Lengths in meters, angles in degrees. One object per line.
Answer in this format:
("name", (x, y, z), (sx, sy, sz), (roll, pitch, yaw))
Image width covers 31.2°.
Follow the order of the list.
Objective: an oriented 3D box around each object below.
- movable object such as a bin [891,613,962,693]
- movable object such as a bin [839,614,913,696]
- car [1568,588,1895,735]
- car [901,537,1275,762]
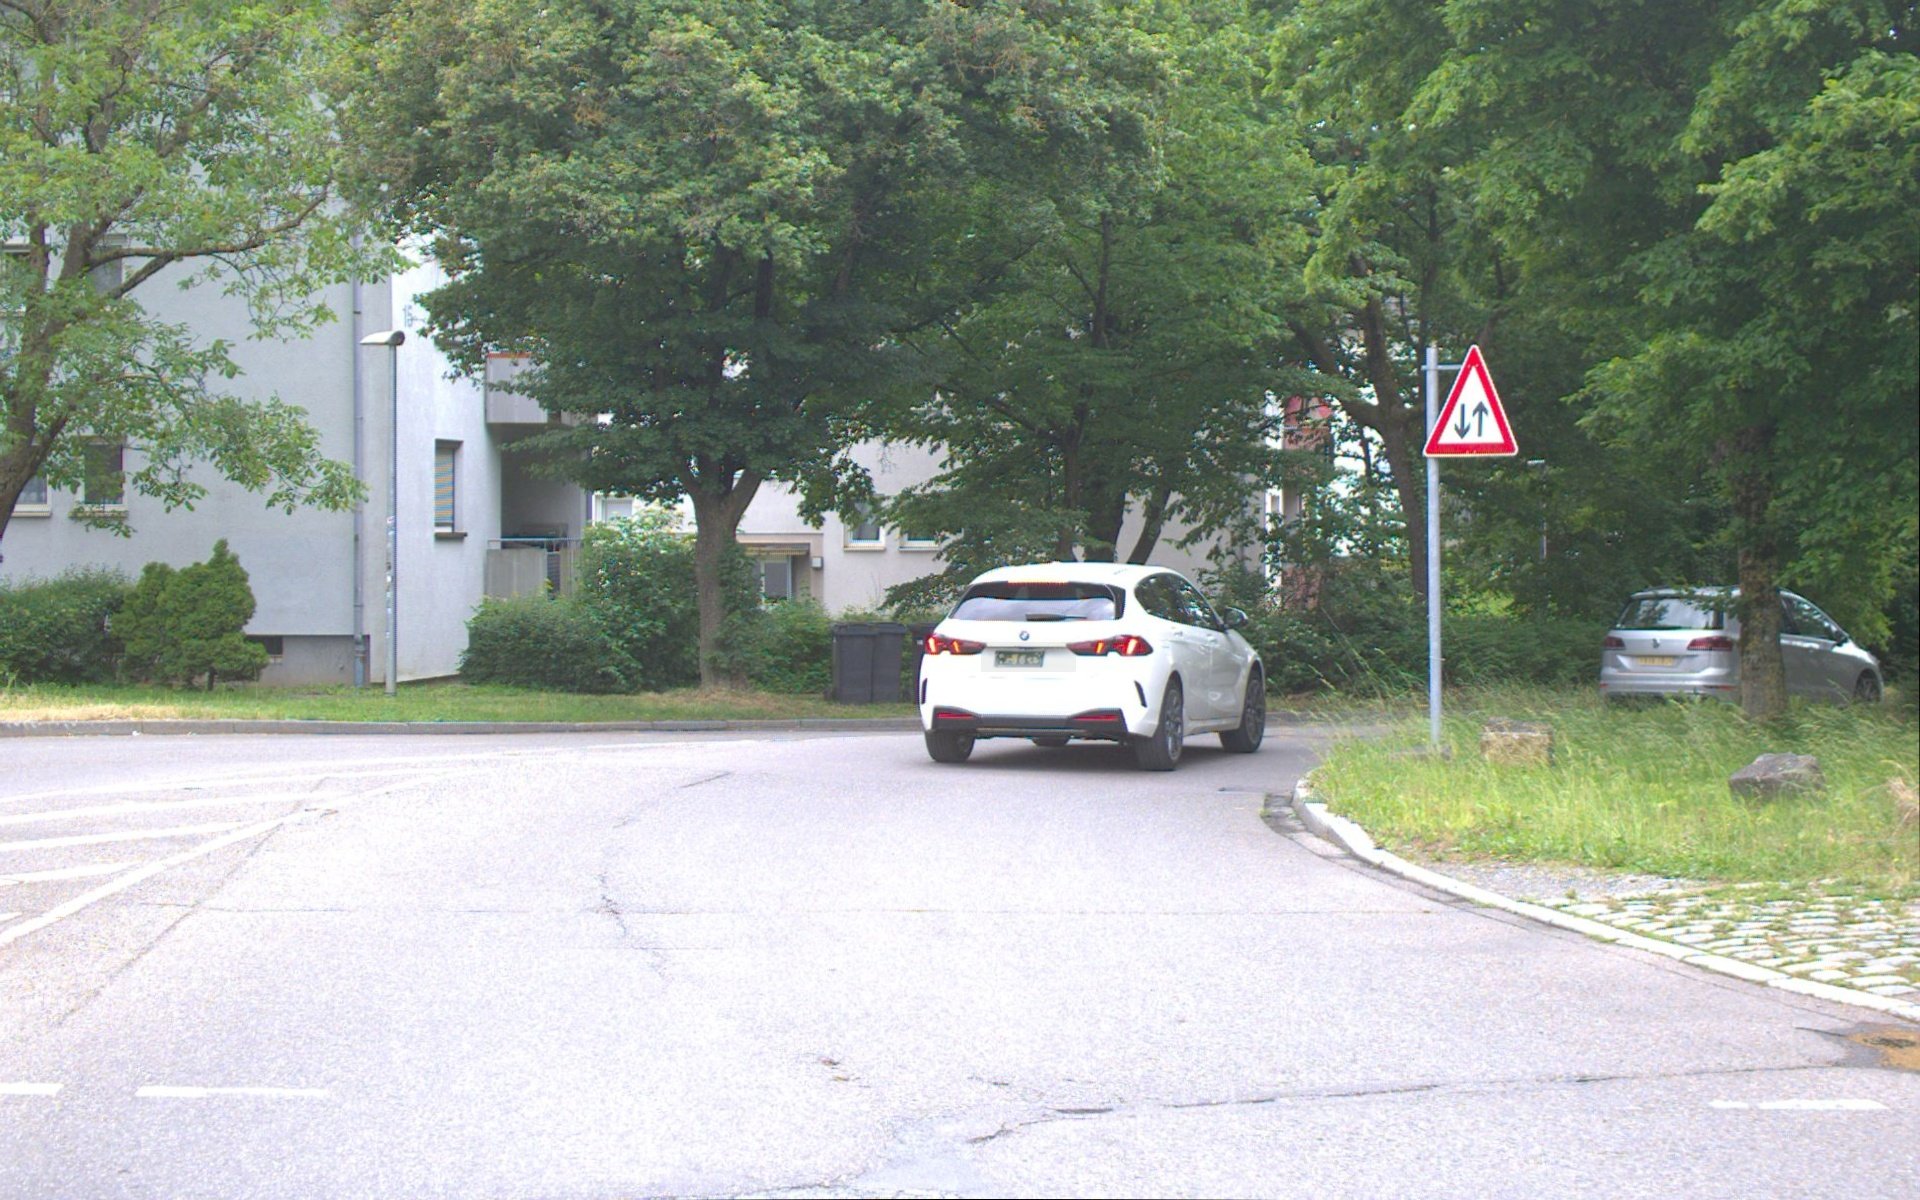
("movable object such as a bin", (-0.381, 0.599, 38.779), (0.576, 0.863, 0.601), (2, 2, -25))
("movable object such as a bin", (-0.944, 0.617, 38.537), (0.591, 0.876, 0.621), (2, 2, -25))
("car", (8.774, 0.680, 38.912), (1.927, 1.569, 3.990), (0, -1, 41))
("car", (1.058, 0.370, 25.789), (1.797, 1.512, 4.203), (1, -1, 16))
